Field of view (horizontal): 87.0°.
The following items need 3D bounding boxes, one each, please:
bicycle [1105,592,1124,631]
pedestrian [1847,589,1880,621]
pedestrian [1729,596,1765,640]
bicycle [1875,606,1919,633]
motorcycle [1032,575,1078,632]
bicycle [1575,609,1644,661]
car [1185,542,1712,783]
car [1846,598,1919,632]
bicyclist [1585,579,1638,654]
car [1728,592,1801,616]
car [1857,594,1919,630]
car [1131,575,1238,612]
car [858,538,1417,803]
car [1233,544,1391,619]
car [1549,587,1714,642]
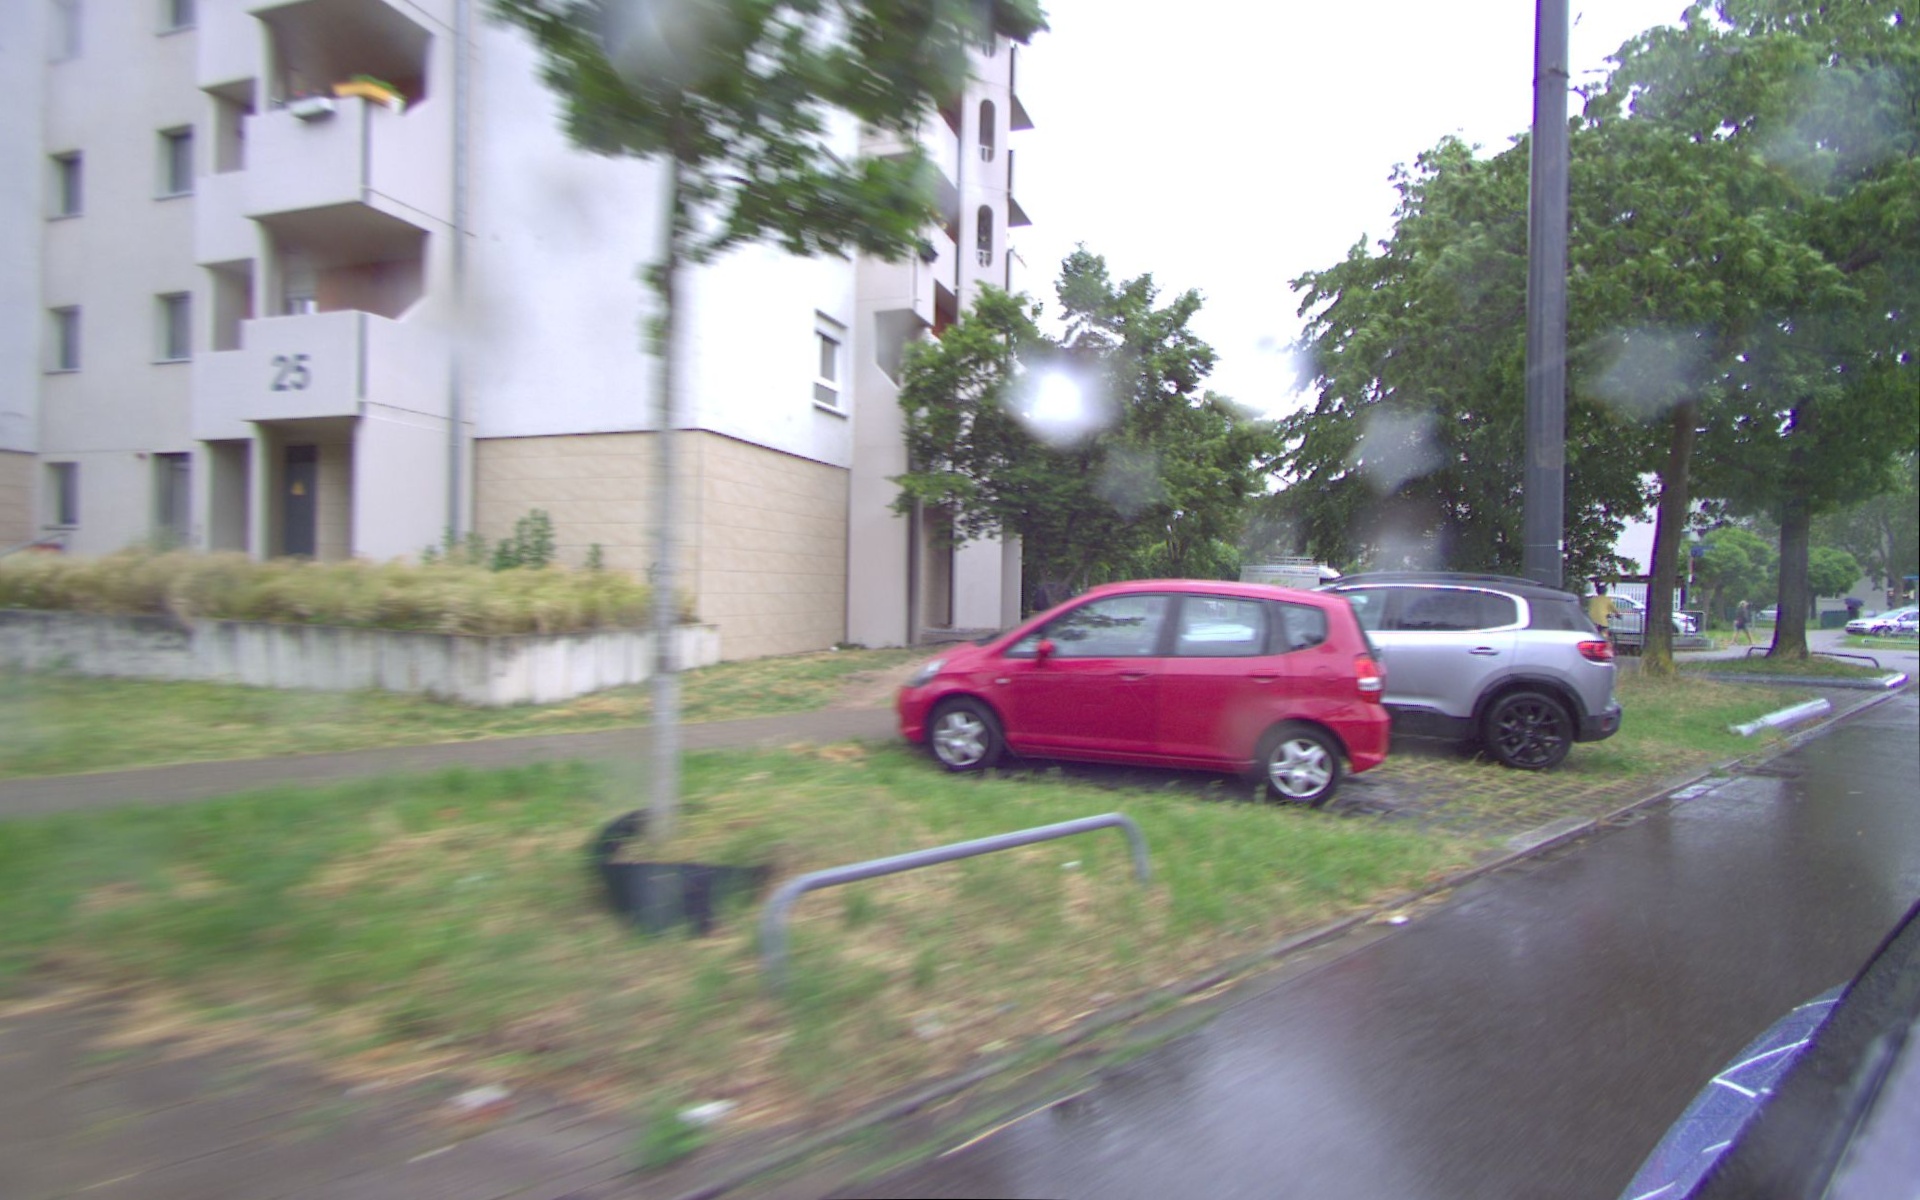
[{"bbox_3d":[4.007,0.281,26.156,0.402,0.937,1.461,2,1,11],"label":"bicycle"},{"bbox_3d":[53.614,0.304,60.062,1.405,1.836,1.103,1,1,-33],"label":"pedestrian"},{"bbox_3d":[29.320,0.653,37.727,0.830,1.590,0.809,1,1,21],"label":"pedestrian"},{"bbox_3d":[41.493,0.872,44.442,1.920,1.116,0.629,2,1,2],"label":"bicycle"},{"bbox_3d":[2.377,0.055,25.083,0.871,1.304,2.295,2,1,11],"label":"motorcycle"},{"bbox_3d":[14.452,0.755,22.501,2.015,1.069,0.736,0,1,-42],"label":"bicycle"},{"bbox_3d":[4.388,0.456,9.803,4.094,1.740,1.989,4,2,18],"label":"car"},{"bbox_3d":[43.862,0.743,46.685,4.062,1.440,1.732,2,1,12],"label":"car"},{"bbox_3d":[14.507,0.359,22.536,0.928,1.613,0.736,1,1,-41],"label":"bicyclist"},{"bbox_3d":[64.032,0.288,80.595,1.838,1.701,4.302,0,2,-40],"label":"car"},{"bbox_3d":[46.505,0.614,48.886,4.288,1.672,1.849,2,1,16],"label":"car"},{"bbox_3d":[10.211,-0.329,46.132,4.392,1.545,1.882,2,1,37],"label":"car"},{"bbox_3d":[1.315,0.427,8.018,3.828,1.586,1.726,4,2,13],"label":"car"},{"bbox_3d":[14.942,-0.820,43.136,6.034,3.001,2.105,2,1,34],"label":"car"},{"bbox_3d":[23.881,0.459,36.175,4.785,1.767,1.976,2,1,34],"label":"car"}]
